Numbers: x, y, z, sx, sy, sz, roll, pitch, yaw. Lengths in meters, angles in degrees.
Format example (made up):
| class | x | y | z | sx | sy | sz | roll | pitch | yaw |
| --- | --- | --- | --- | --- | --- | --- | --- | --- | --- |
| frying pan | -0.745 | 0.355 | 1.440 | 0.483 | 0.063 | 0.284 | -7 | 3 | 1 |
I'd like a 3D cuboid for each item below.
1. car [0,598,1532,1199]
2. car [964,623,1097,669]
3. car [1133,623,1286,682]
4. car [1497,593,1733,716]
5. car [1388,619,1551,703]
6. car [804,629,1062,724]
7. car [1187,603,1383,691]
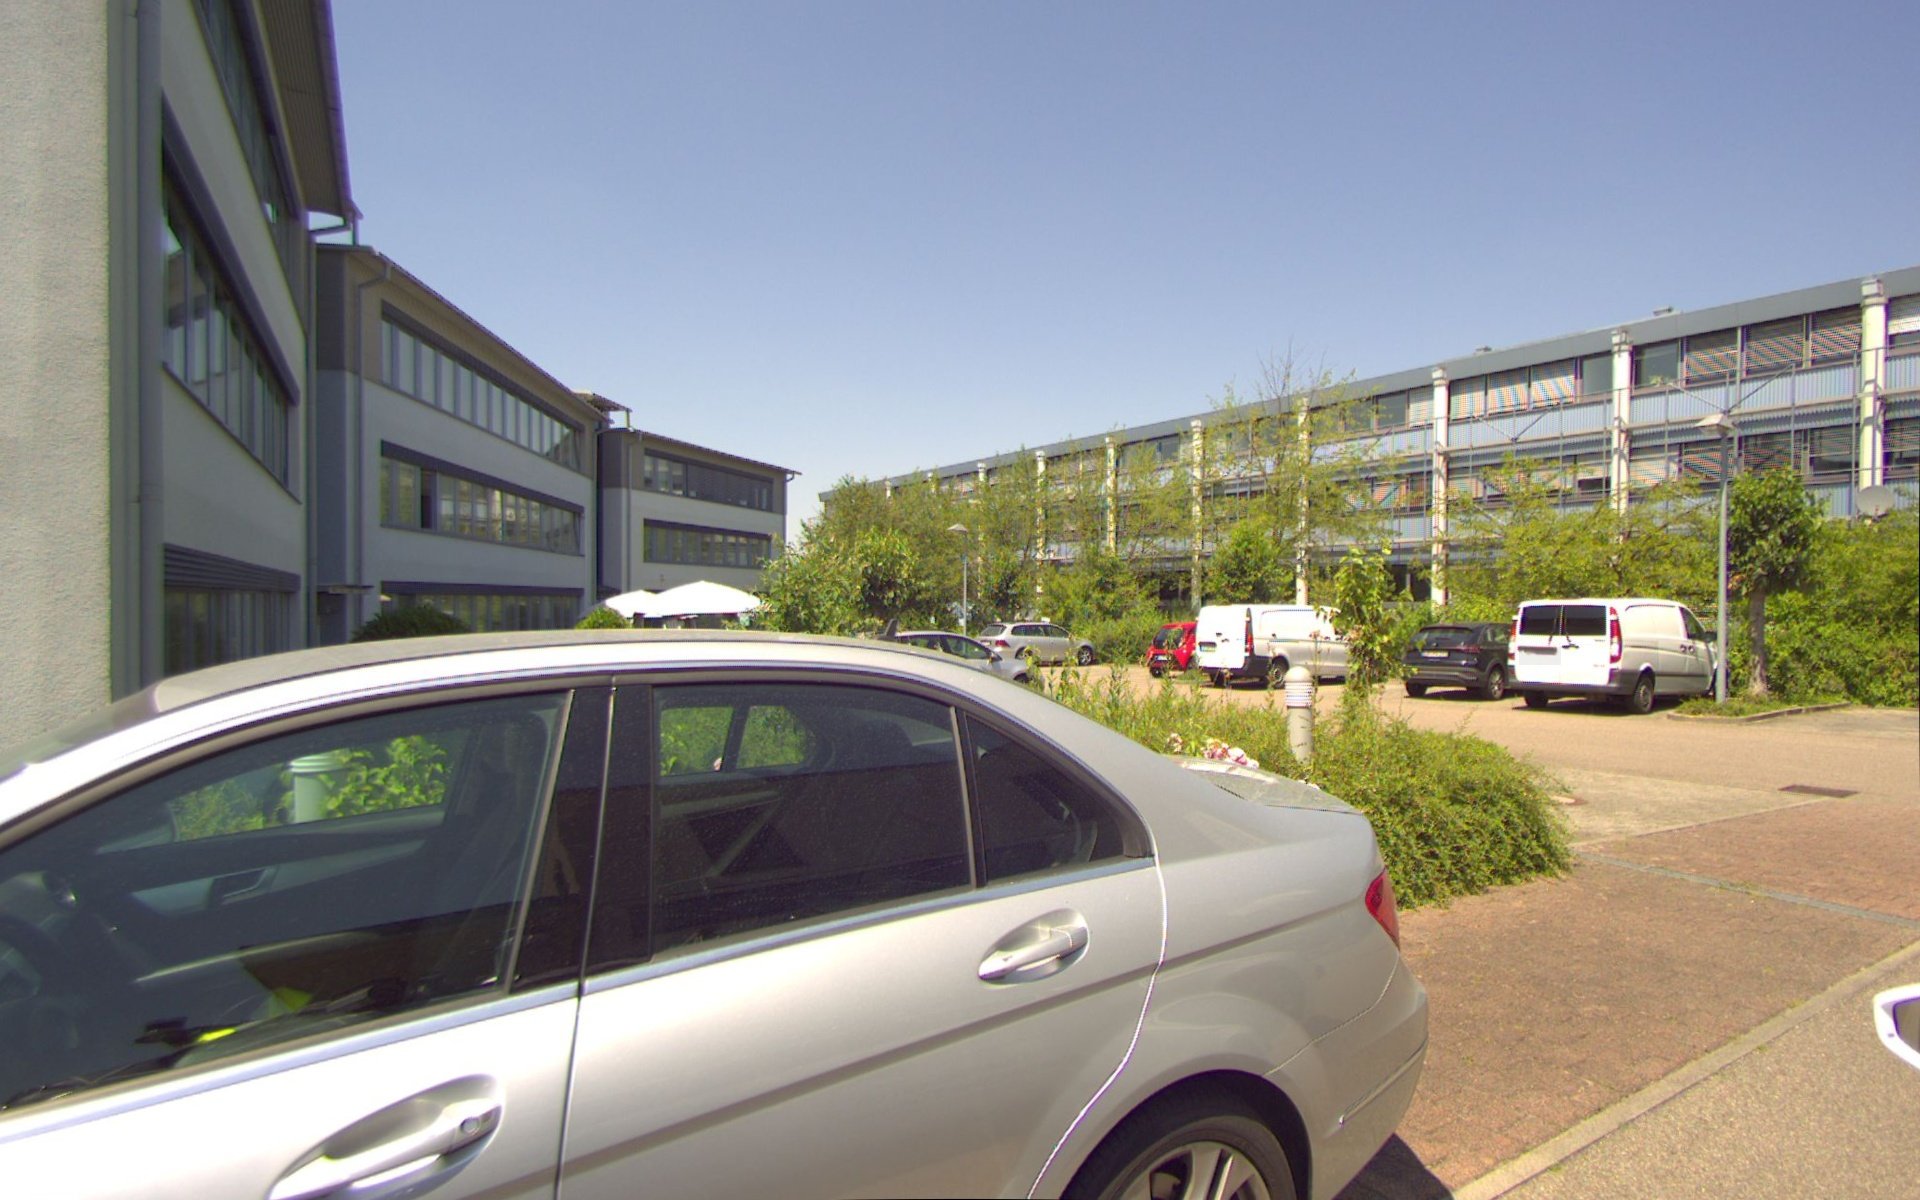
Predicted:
| class | x | y | z | sx | sy | sz | roll | pitch | yaw |
| --- | --- | --- | --- | --- | --- | --- | --- | --- | --- |
| car | -0.931 | 0.763 | 1.899 | 4.100 | 1.476 | 1.721 | 1 | -2 | -31 |
| car | 2.364 | 1.491 | 33.472 | 4.122 | 1.425 | 1.858 | 0 | -1 | -31 |
| car | 6.806 | 1.375 | 27.328 | 3.954 | 1.460 | 1.773 | 1 | -1 | -31 |
| car | 11.790 | 0.885 | 17.977 | 4.759 | 1.930 | 1.901 | 0 | -1 | -35 |
| car | 10.528 | 1.174 | 20.639 | 3.971 | 1.496 | 1.738 | 0 | -1 | -43 |
| car | -0.424 | 1.292 | 18.288 | 4.437 | 1.492 | 1.846 | 1 | -1 | -34 |
| car | 7.815 | 1.037 | 23.981 | 4.750 | 1.916 | 1.871 | 0 | -1 | -32 |
